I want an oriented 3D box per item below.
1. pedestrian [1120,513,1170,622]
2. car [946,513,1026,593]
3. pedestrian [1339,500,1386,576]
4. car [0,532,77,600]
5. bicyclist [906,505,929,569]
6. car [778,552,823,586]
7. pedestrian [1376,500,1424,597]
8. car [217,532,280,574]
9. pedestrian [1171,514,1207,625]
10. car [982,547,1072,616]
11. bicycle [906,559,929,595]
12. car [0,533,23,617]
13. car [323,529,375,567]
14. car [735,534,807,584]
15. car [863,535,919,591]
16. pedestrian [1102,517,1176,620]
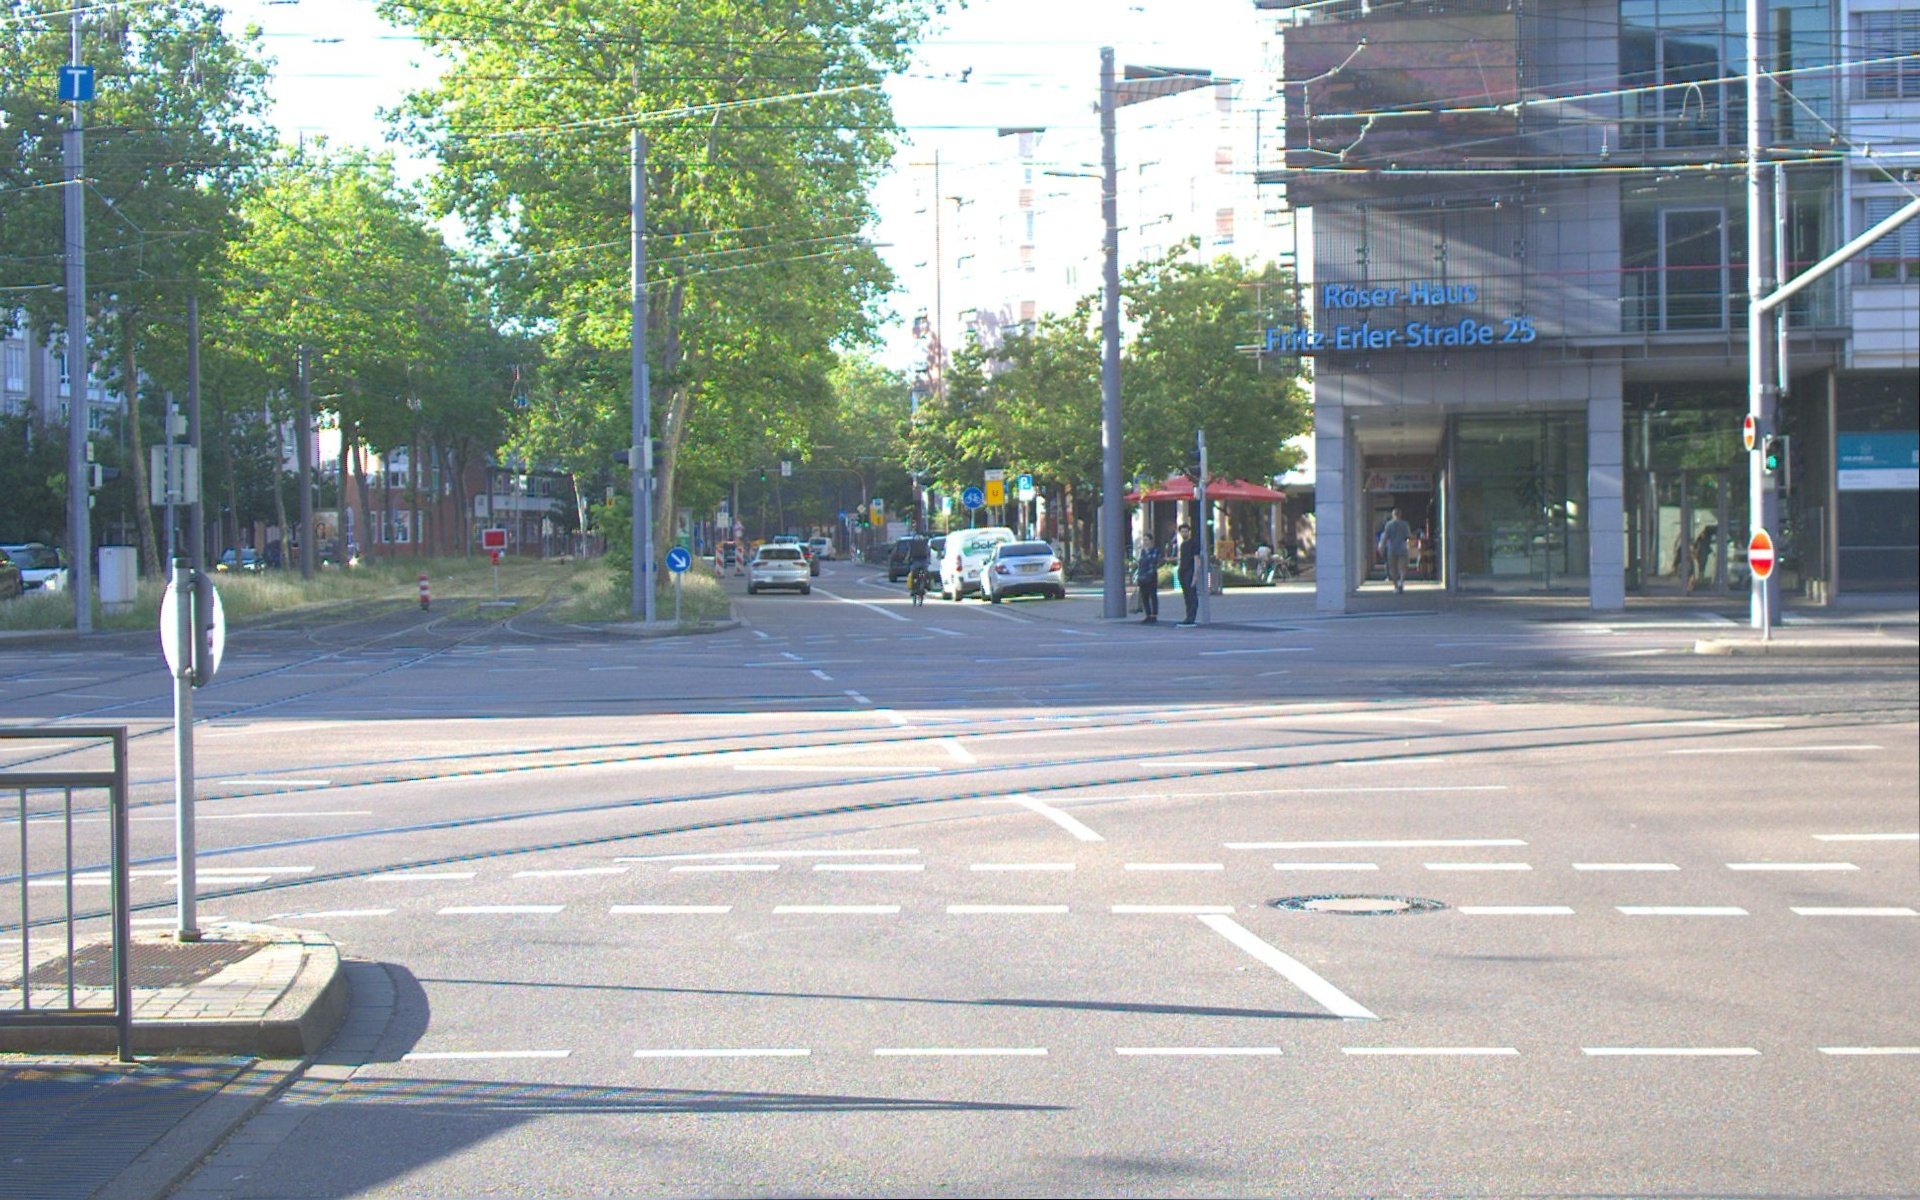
[{"bbox_3d":[3.448,-0.606,64.261,0.849,2.007,0.708,1,0,-2],"label":"pedestrian"},{"bbox_3d":[0.658,-1.209,89.643,1.993,2.007,4.000,1,1,-1],"label":"car"},{"bbox_3d":[11.692,-1.801,99.869,1.313,2.182,1.170,1,0,6],"label":"pedestrian"},{"bbox_3d":[-22.398,-0.823,82.668,1.676,1.601,4.001,1,1,-6],"label":"car"},{"bbox_3d":[-0.955,-1.431,77.560,0.486,1.434,0.615,1,1,-1],"label":"bicyclist"},{"bbox_3d":[-6.782,-1.333,145.900,1.763,1.399,4.297,0,1,-4],"label":"car"},{"bbox_3d":[9.236,-1.069,72.176,0.869,2.007,0.794,1,-1,-1],"label":"pedestrian"},{"bbox_3d":[-30.914,-2.061,149.467,1.910,1.777,4.000,-1,1,-1],"label":"car"},{"bbox_3d":[4.185,-0.564,62.788,0.586,2.007,0.620,1,0,0],"label":"pedestrian"},{"bbox_3d":[1.593,-0.464,82.887,2.029,1.590,4.000,1,1,-1],"label":"car"},{"bbox_3d":[-0.962,-0.521,77.646,0.490,0.785,1.862,0,1,-1],"label":"bicycle"},{"bbox_3d":[-21.667,-0.542,74.875,1.822,1.784,4.001,-1,1,-7],"label":"car"},{"bbox_3d":[-29.721,-2.545,167.324,1.844,1.777,4.000,-1,1,-1],"label":"car"},{"bbox_3d":[-5.401,-1.196,98.811,1.748,1.413,4.000,0,1,1],"label":"car"},{"bbox_3d":[-2.538,-1.349,126.720,1.993,2.007,4.000,1,1,-1],"label":"car"},{"bbox_3d":[3.424,-0.602,65.811,1.342,1.944,1.011,-1,0,-1],"label":"pedestrian"}]
